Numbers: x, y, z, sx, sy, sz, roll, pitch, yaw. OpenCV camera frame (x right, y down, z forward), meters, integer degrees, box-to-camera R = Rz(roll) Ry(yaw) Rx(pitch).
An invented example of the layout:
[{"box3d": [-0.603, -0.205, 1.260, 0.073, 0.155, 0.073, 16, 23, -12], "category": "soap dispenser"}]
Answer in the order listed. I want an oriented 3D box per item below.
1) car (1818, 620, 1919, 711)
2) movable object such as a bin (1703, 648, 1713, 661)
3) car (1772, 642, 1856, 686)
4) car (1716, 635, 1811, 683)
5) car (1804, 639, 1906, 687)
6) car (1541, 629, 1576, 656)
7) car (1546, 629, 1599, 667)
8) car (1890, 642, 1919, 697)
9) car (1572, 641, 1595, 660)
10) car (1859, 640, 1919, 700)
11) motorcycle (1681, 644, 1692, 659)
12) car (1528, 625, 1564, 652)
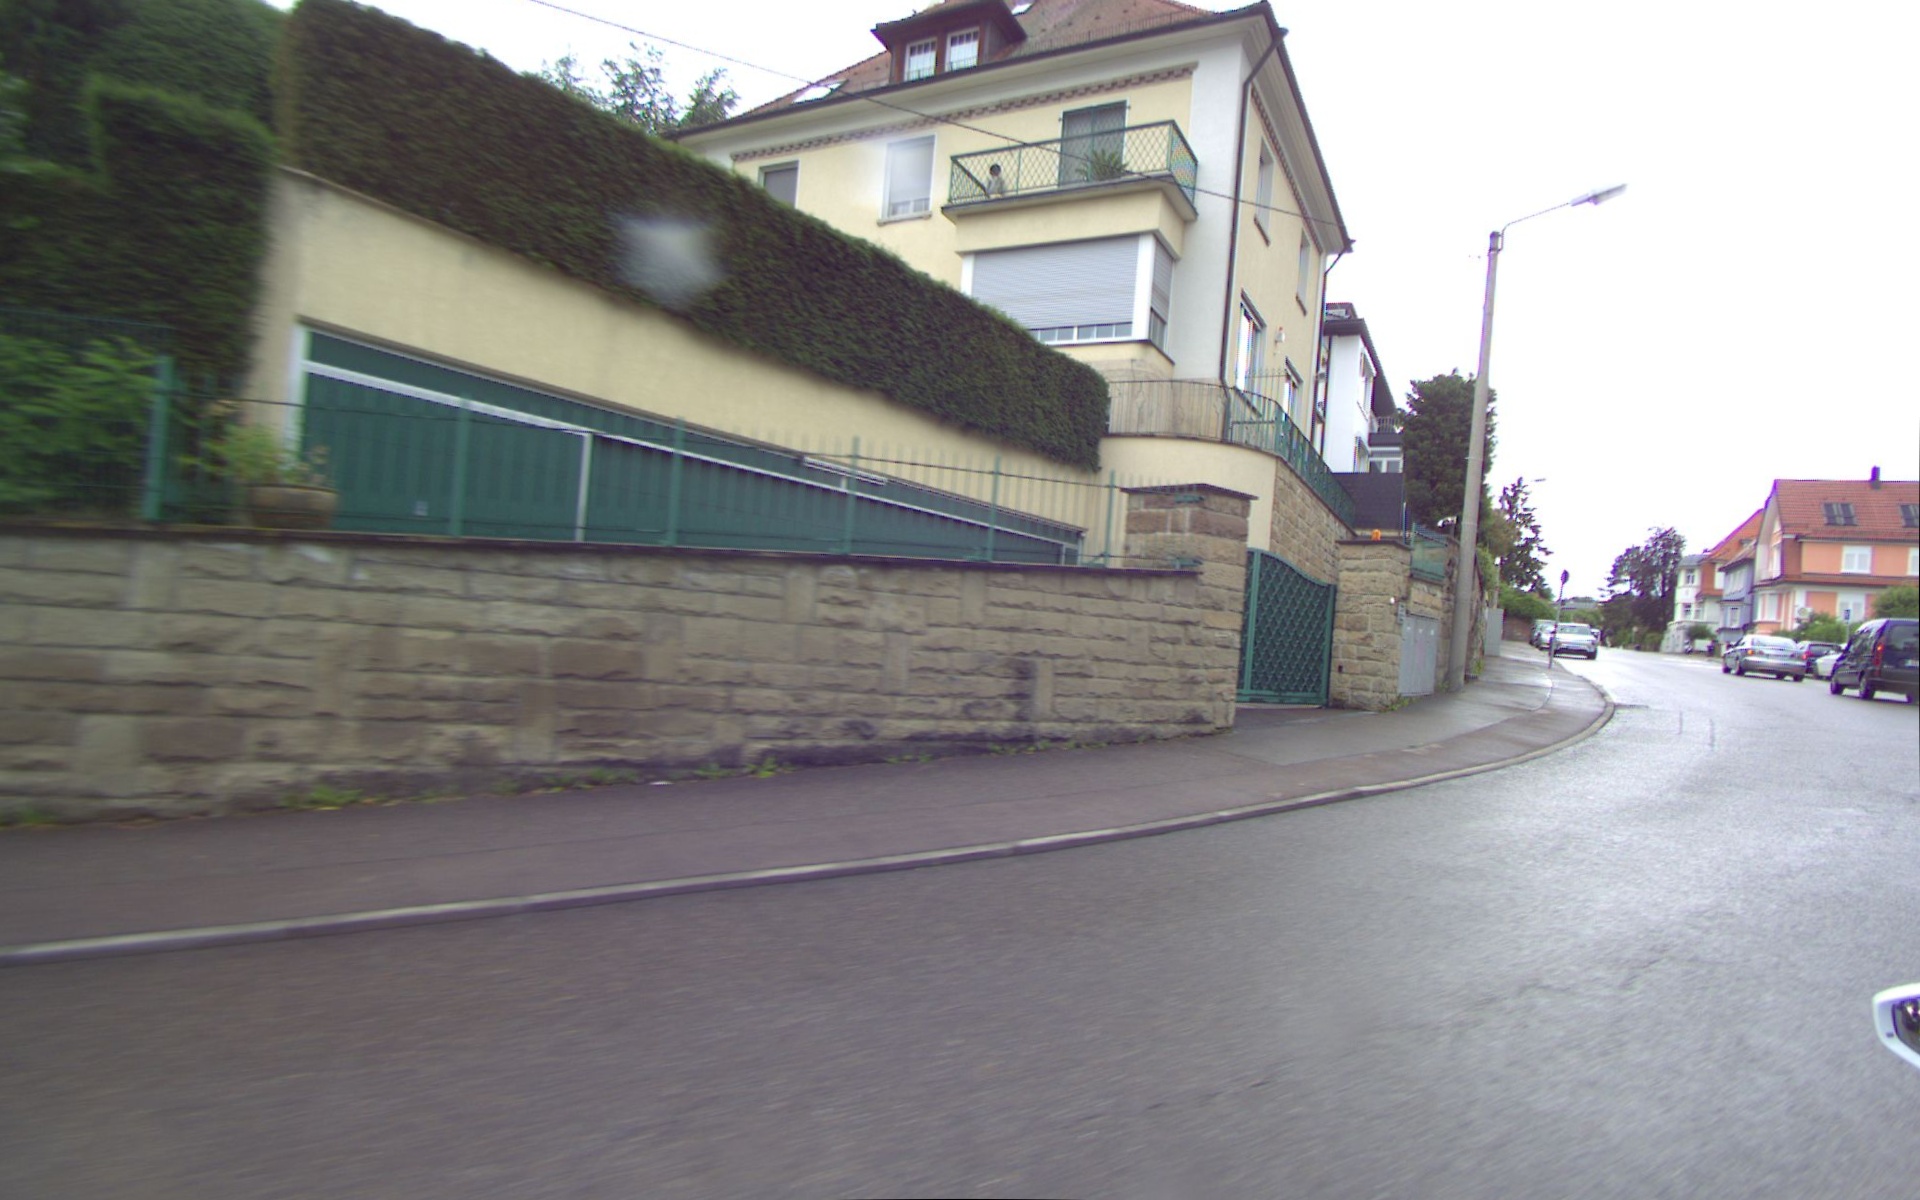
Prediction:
[{"box3d": [21.318, 1.426, 23.089, 1.798, 1.908, 4.085, 0, 0, 32], "category": "car"}, {"box3d": [59.107, 4.320, 79.351, 0.541, 0.948, 0.633, 2, 0, 30], "category": "movable object such as a bin"}, {"box3d": [35.663, 2.646, 42.073, 1.728, 1.550, 4.200, 6, 1, 29], "category": "car"}, {"box3d": [27.331, 2.004, 34.288, 1.826, 1.477, 4.090, 1, -3, 29], "category": "car"}, {"box3d": [33.059, 2.284, 37.243, 1.688, 1.424, 4.601, 6, 1, 28], "category": "car"}, {"box3d": [34.770, 2.459, 58.418, 1.586, 1.355, 3.834, 6, 1, 29], "category": "car"}, {"box3d": [28.663, 2.205, 47.110, 1.870, 1.588, 4.231, 3, 0, 29], "category": "car"}, {"box3d": [26.961, 1.995, 26.307, 1.769, 1.459, 4.644, 5, 1, 15], "category": "car"}, {"box3d": [86.382, 6.947, 139.169, 2.430, 2.432, 3.993, 1, -1, 29], "category": "car"}, {"box3d": [29.755, 2.187, 30.942, 1.859, 1.684, 4.542, 6, 1, 28], "category": "car"}, {"box3d": [63.511, 4.466, 87.798, 0.573, 1.278, 2.326, 3, 0, 32], "category": "motorcycle"}, {"box3d": [38.971, 2.564, 66.883, 1.870, 1.535, 4.335, 6, 2, 29], "category": "car"}]
